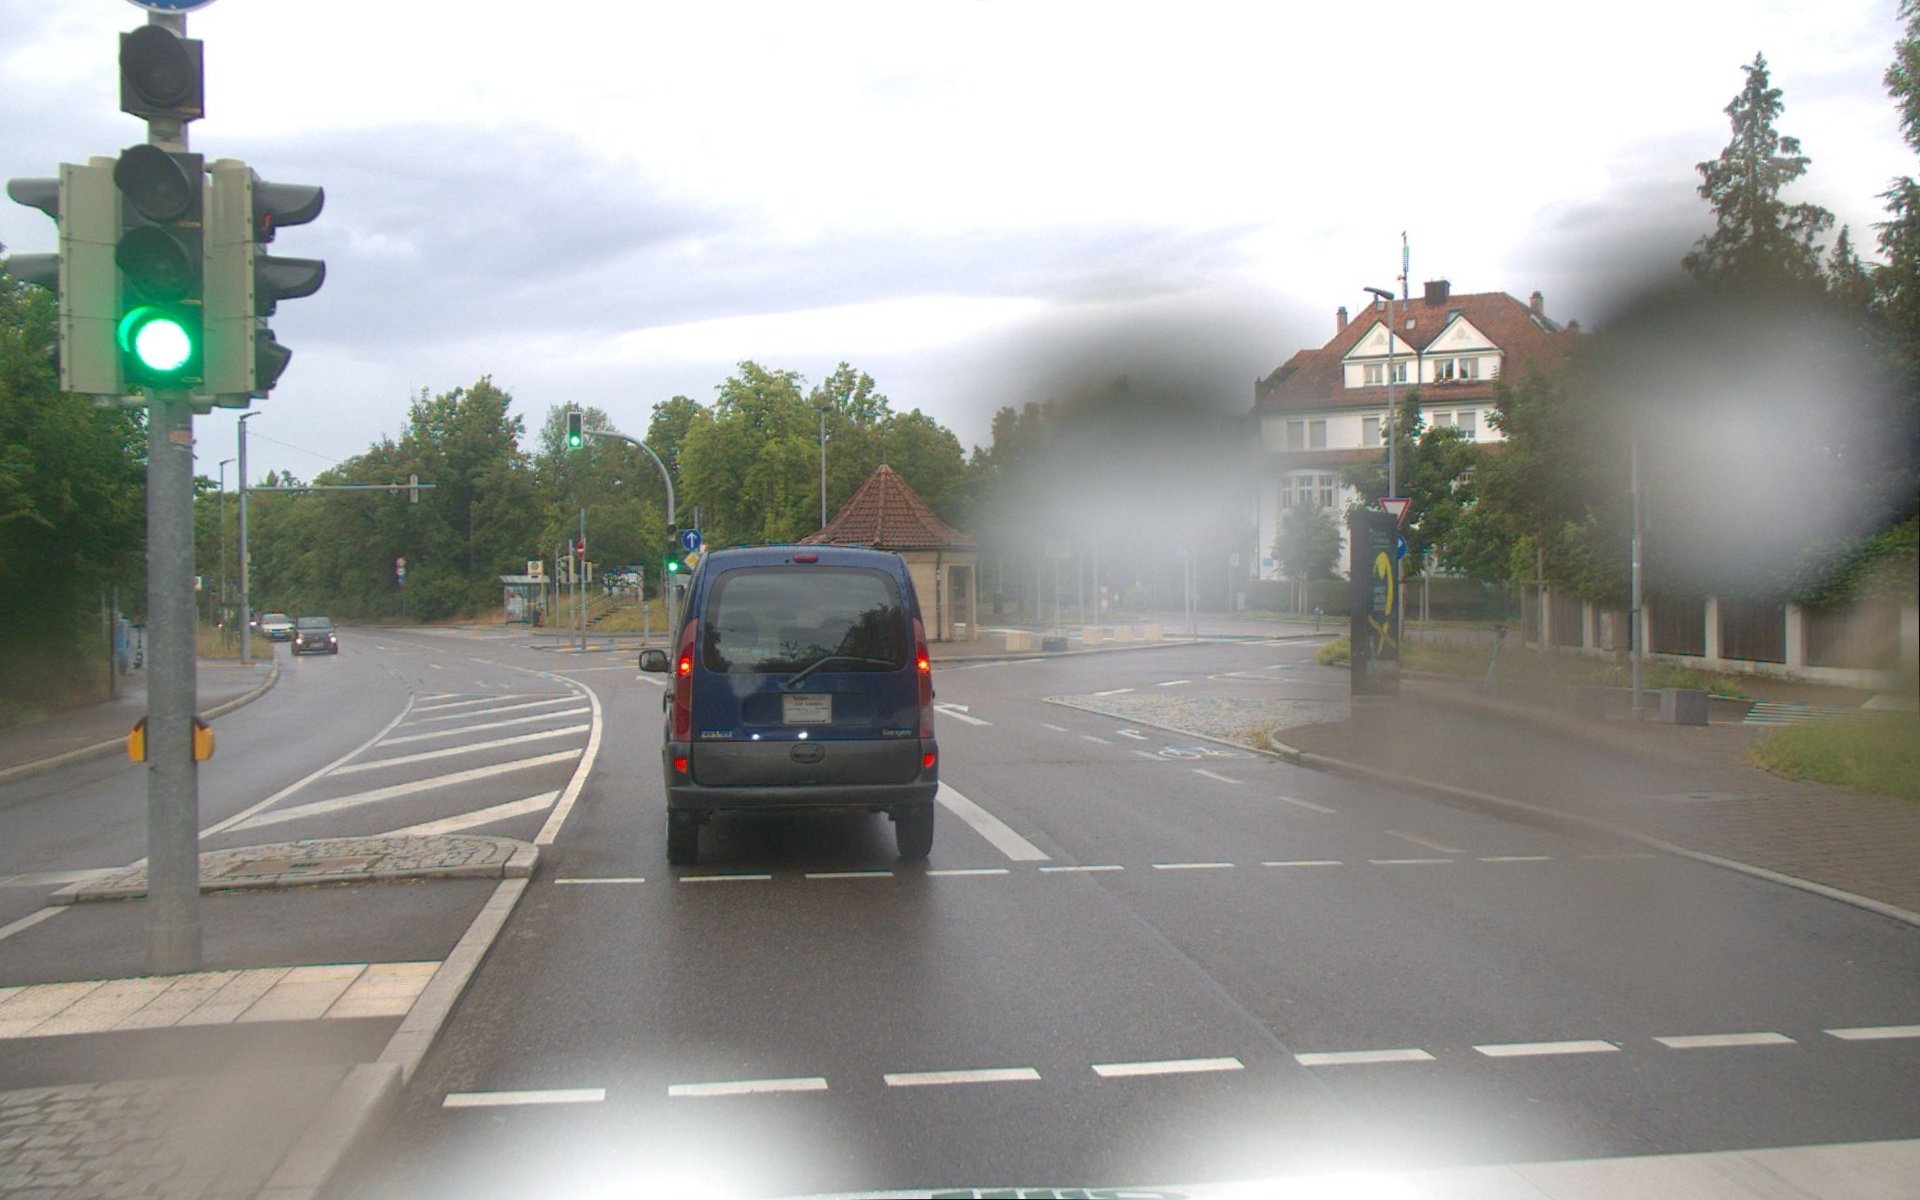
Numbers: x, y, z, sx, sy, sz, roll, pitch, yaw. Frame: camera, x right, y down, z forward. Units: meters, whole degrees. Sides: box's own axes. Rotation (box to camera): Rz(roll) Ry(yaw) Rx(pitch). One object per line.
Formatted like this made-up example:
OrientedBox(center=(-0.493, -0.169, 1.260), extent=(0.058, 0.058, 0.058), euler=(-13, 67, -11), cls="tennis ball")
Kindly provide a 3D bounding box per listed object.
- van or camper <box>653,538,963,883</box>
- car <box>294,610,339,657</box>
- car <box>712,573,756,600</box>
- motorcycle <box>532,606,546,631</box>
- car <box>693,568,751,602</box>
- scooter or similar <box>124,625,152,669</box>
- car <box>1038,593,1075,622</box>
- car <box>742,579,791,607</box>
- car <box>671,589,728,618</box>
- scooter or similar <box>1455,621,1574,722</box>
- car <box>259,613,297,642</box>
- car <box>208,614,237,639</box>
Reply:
OrientedBox(center=(-1.135, 0.600, 11.079), extent=(1.681, 1.858, 3.991), euler=(-1, 0, -9), cls="van or camper")
OrientedBox(center=(-25.778, 1.304, 66.219), extent=(1.554, 1.761, 3.749), euler=(-3, 0, -22), cls="car")
OrientedBox(center=(-14.057, -0.824, 102.683), extent=(1.859, 1.506, 4.042), euler=(-1, -1, -21), cls="car")
OrientedBox(center=(-22.281, 0.979, 87.497), extent=(0.578, 1.311, 1.533), euler=(-2, 0, -11), cls="motorcycle")
OrientedBox(center=(-12.385, -0.777, 85.870), extent=(1.967, 1.691, 3.970), euler=(1, 0, -24), cls="car")
OrientedBox(center=(-23.989, 1.374, 48.269), extent=(0.509, 1.233, 1.461), euler=(-1, 0, -18), cls="scooter or similar")
OrientedBox(center=(7.158, 0.563, 123.051), extent=(1.956, 2.049, 3.993), euler=(-1, 0, -8), cls="car")
OrientedBox(center=(-10.839, -0.366, 92.556), extent=(1.858, 1.506, 4.044), euler=(1, -1, -20), cls="car")
OrientedBox(center=(-14.194, 0.208, 89.934), extent=(1.968, 1.506, 4.251), euler=(1, -1, -25), cls="car")
OrientedBox(center=(6.998, 0.902, 20.895), extent=(1.323, 1.228, 0.523), euler=(2, -1, -10), cls="scooter or similar")
OrientedBox(center=(-35.677, 1.397, 86.500), extent=(1.718, 1.375, 4.178), euler=(-3, 1, -23), cls="car")
OrientedBox(center=(-51.482, 1.830, 115.479), extent=(1.766, 1.608, 4.526), euler=(-2, 1, -24), cls="car")
